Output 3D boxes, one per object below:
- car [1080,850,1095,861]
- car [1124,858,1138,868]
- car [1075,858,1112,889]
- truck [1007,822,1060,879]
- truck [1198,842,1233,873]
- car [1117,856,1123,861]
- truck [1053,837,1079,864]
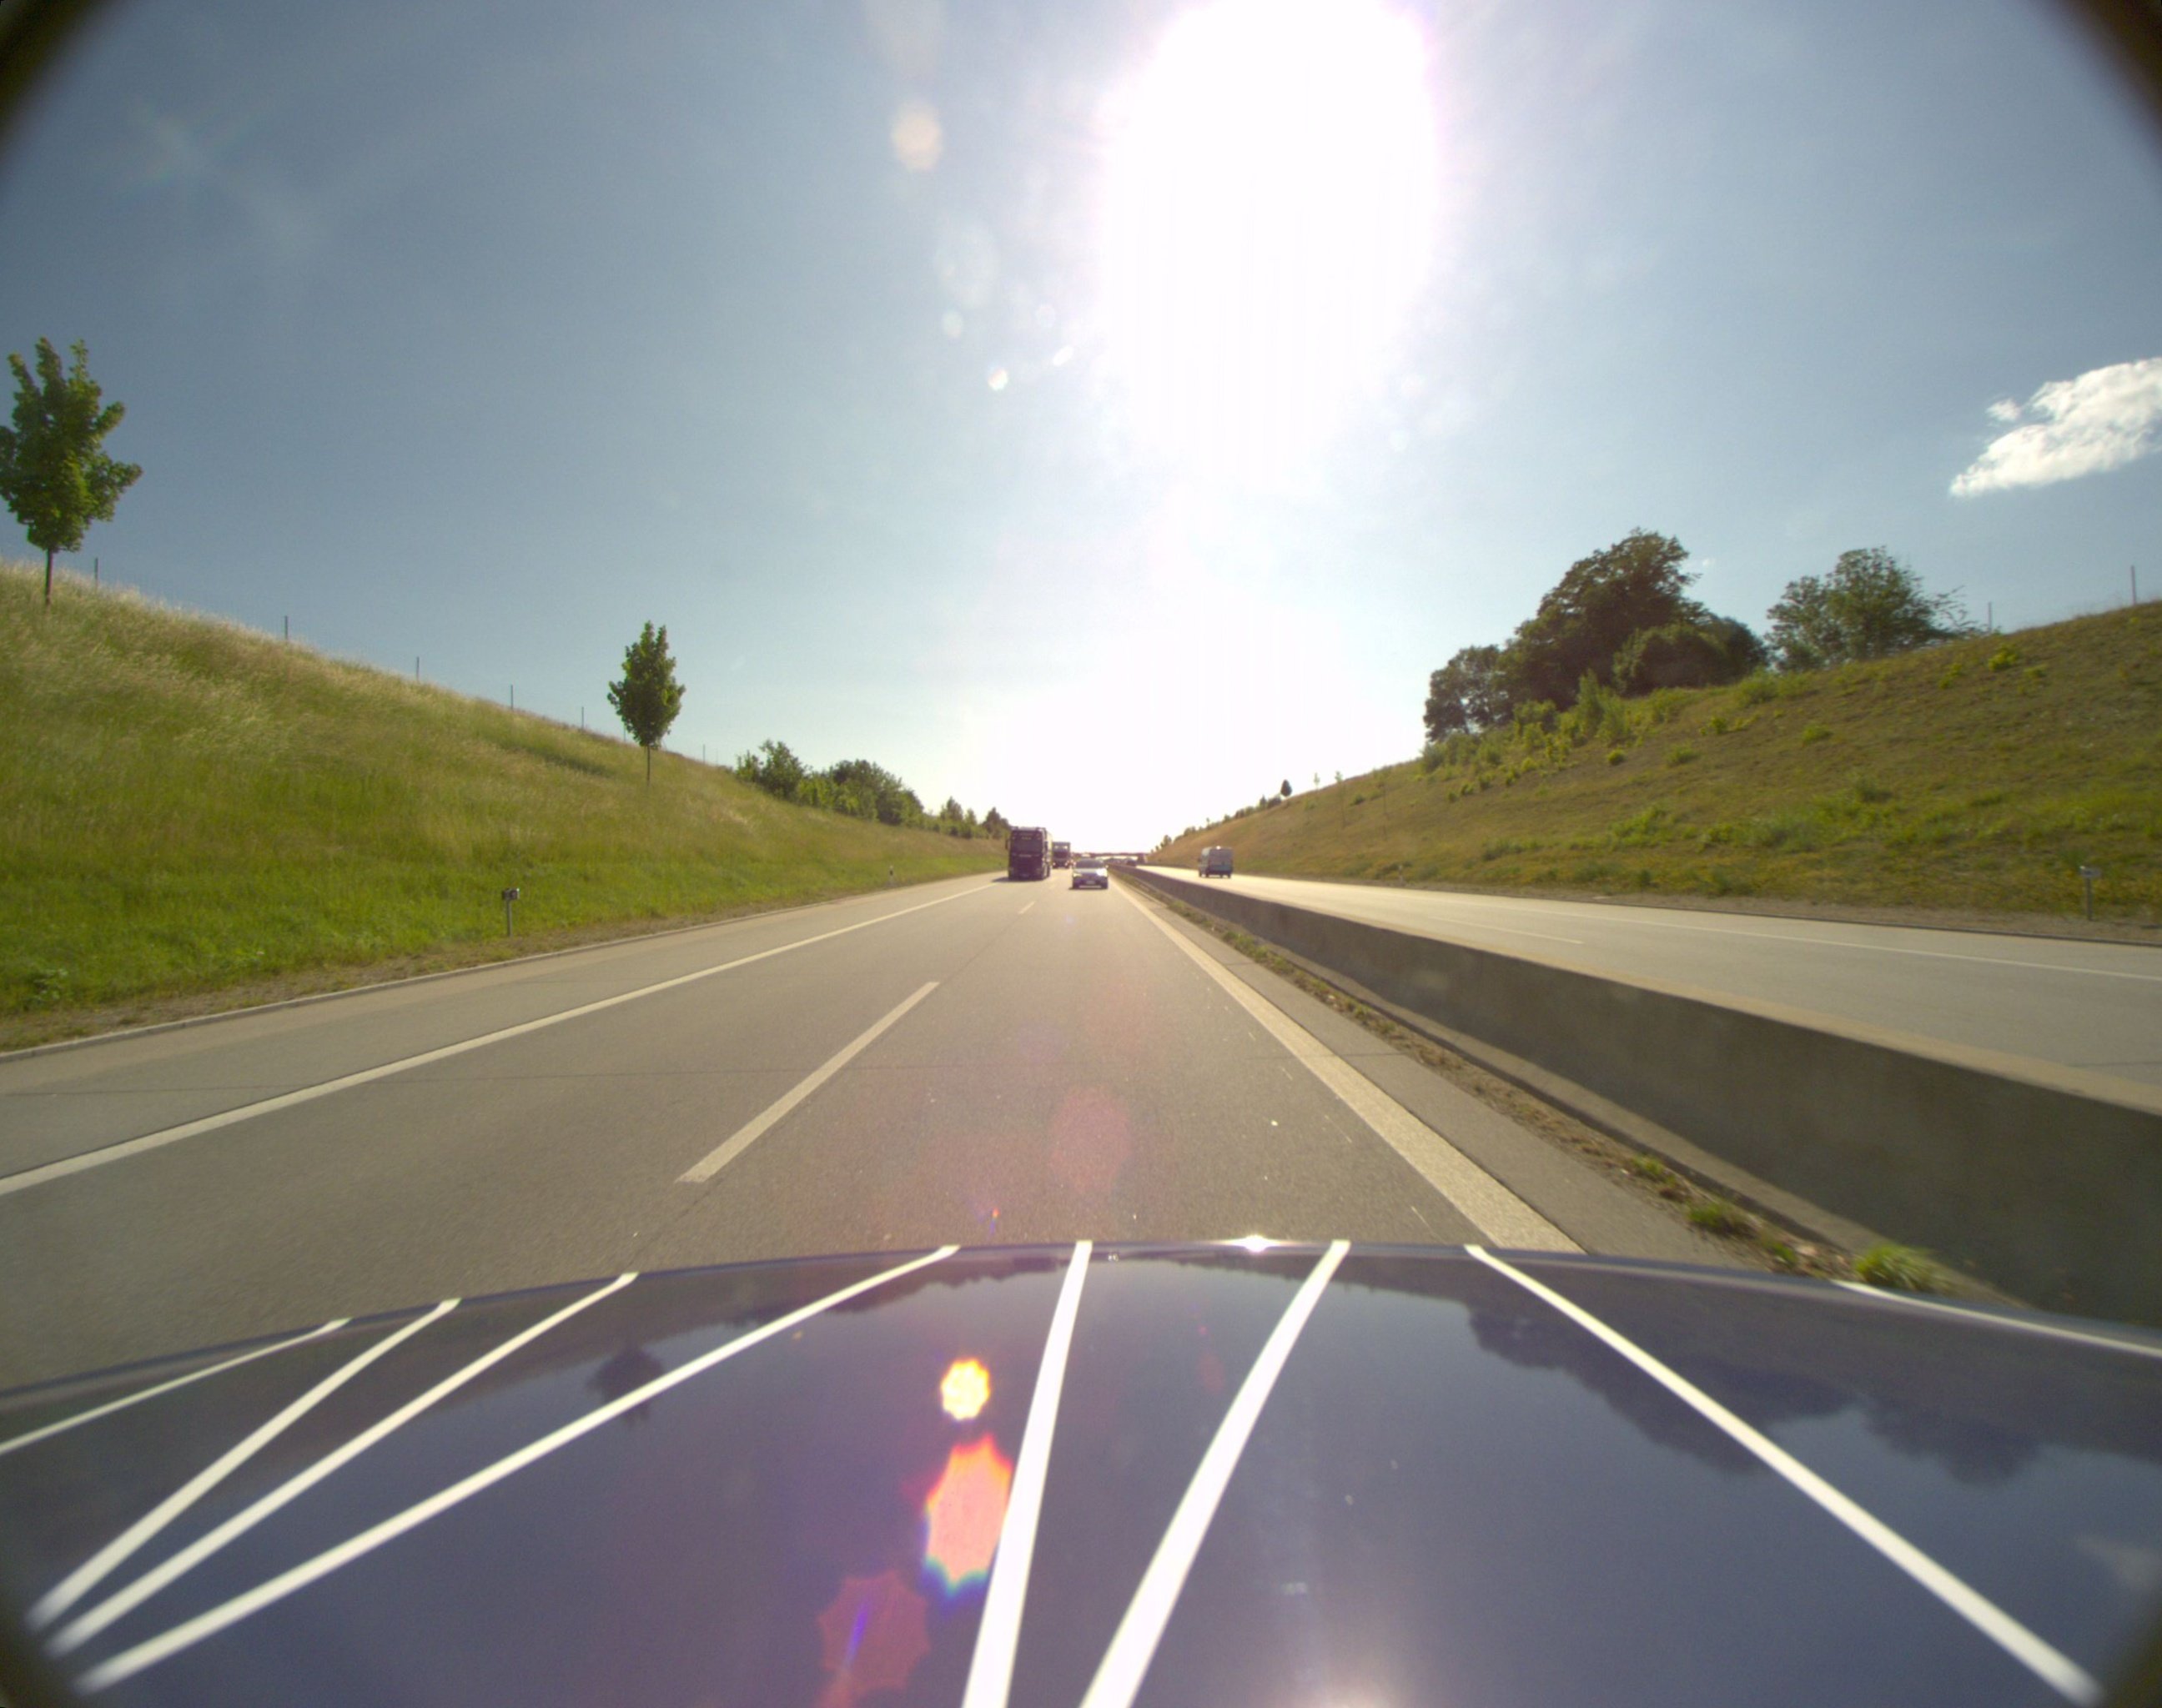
[{"bbox_3d":[1.284,0.323,149.665,2.816,2.143,5.947,1,0,0],"label":"car"},{"bbox_3d":[7.705,1.344,117.610,1.778,1.440,4.183,0,0,-1],"label":"car"},{"bbox_3d":[0.691,0.967,39.676,1.795,1.501,3.636,-1,0,3],"label":"car"},{"bbox_3d":[-3.454,-0.235,59.031,2.623,3.795,13.405,-2,0,2],"label":"truck"},{"bbox_3d":[11.207,0.296,63.723,1.998,2.434,5.668,-1,0,0],"label":"truck"},{"bbox_3d":[12.153,1.508,239.226,1.780,1.592,4.039,0,0,1],"label":"car"},{"bbox_3d":[-2.195,-0.471,115.520,3.024,3.795,13.405,1,0,2],"label":"truck"}]
